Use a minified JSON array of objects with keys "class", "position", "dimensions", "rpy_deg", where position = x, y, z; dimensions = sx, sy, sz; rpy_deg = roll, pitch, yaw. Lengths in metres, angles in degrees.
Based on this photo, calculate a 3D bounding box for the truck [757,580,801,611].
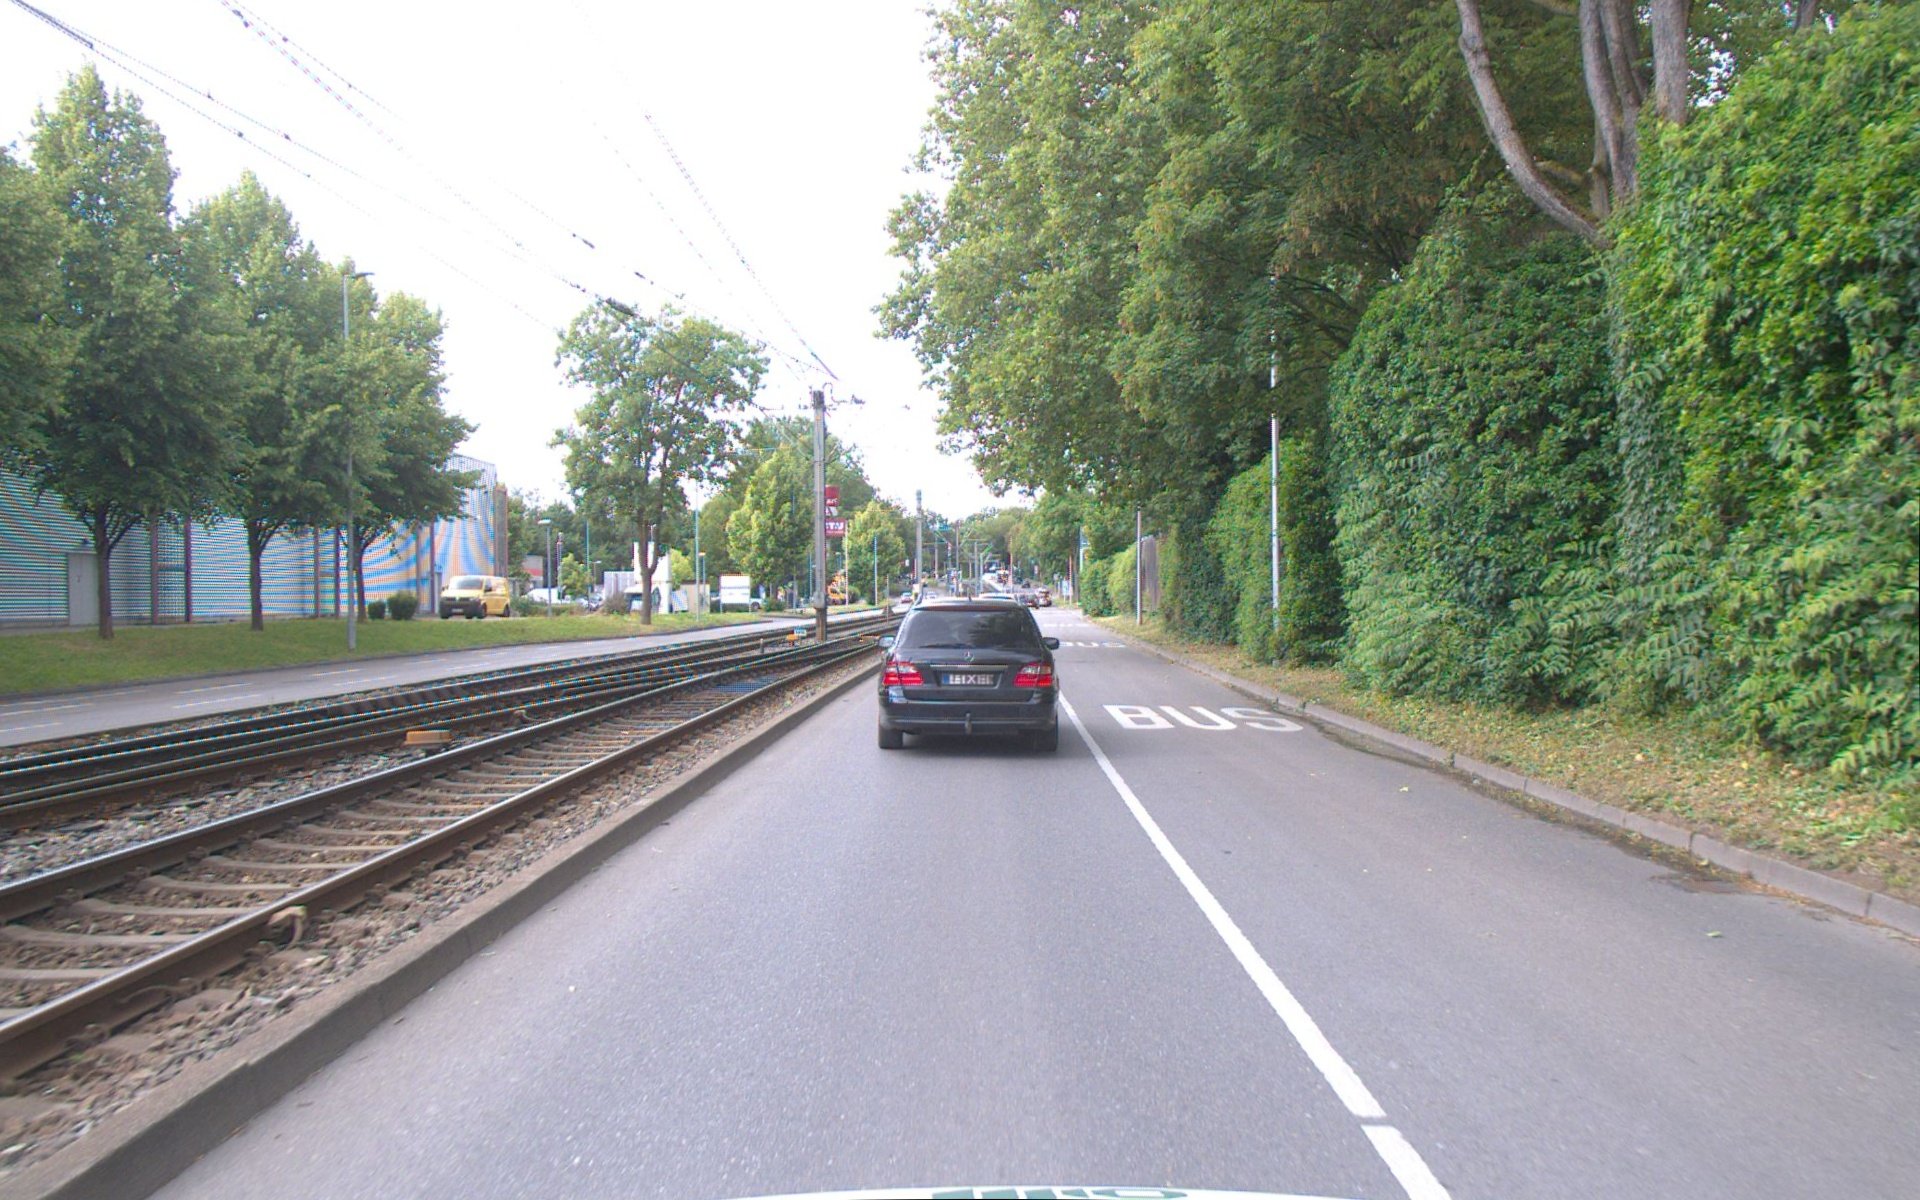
[{"class":"truck","position":[-17.066,-0.420,156.110],"dimensions":[3.905,2.871,2.376],"rpy_deg":[-1,0,0]}]

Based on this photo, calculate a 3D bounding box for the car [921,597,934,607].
[{"class":"car","position":[-4.900,0.249,252.385],"dimensions":[1.723,1.425,4.444],"rpy_deg":[-3,0,1]}]

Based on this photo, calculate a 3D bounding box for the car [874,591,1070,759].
[{"class":"car","position":[0.188,0.674,16.987],"dimensions":[1.771,1.500,3.882],"rpy_deg":[1,0,2]}]

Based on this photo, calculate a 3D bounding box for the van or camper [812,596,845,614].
[{"class":"van or camper","position":[-16.321,0.577,205.145],"dimensions":[3.907,2.172,1.877],"rpy_deg":[1,0,-2]}]

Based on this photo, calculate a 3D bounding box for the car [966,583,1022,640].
[{"class":"car","position":[1.169,0.380,55.101],"dimensions":[1.743,1.781,3.719],"rpy_deg":[1,0,2]}]

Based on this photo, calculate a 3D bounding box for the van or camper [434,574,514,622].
[{"class":"van or camper","position":[-21.555,-0.100,73.539],"dimensions":[2.060,2.049,5.242],"rpy_deg":[0,0,-1]}]

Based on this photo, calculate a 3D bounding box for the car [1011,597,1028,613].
[{"class":"car","position":[5.541,0.508,153.181],"dimensions":[1.538,1.439,3.355],"rpy_deg":[1,0,2]}]
